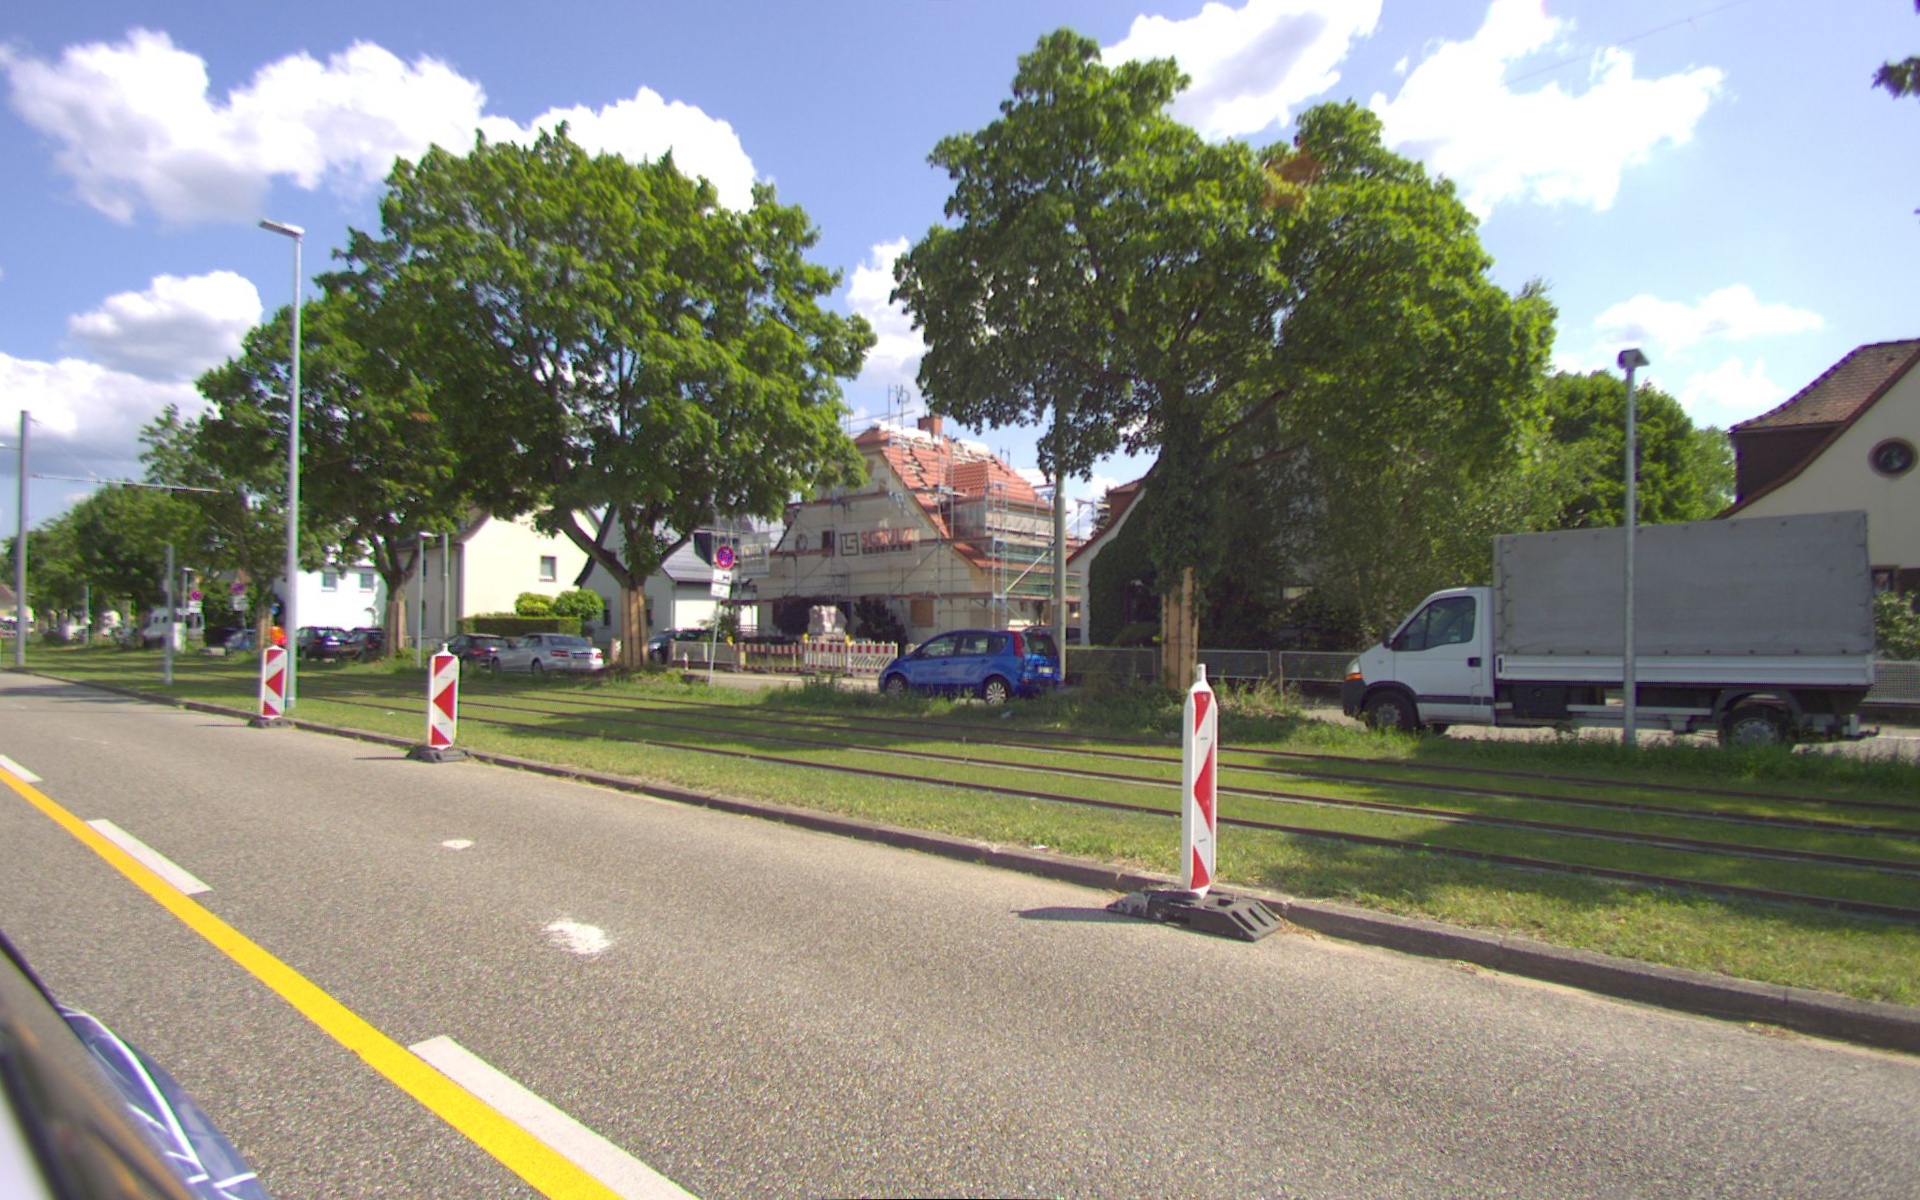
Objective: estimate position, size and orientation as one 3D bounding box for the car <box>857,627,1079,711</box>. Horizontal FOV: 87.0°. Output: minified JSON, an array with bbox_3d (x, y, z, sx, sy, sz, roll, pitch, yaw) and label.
[{"bbox_3d":[0.067,1.355,20.275,4.403,1.497,1.680,-3,-3,41],"label":"car"}]

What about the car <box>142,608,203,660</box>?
[{"bbox_3d":[-49.515,2.166,63.602,5.080,3.061,2.108,-3,-3,41],"label":"car"}]

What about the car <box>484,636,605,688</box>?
[{"bbox_3d":[-13.144,1.937,31.876,4.520,1.497,1.765,-4,-3,42],"label":"car"}]

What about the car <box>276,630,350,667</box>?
[{"bbox_3d":[-29.493,2.229,46.069,4.403,1.584,1.680,-3,-3,41],"label":"car"}]

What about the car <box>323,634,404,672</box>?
[{"bbox_3d":[-25.178,2.257,42.646,4.403,1.497,1.680,-3,-3,41],"label":"car"}]

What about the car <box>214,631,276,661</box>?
[{"bbox_3d":[-37.492,2.432,53.045,4.403,1.497,1.680,-3,-3,41],"label":"car"}]

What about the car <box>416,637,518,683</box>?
[{"bbox_3d":[-17.519,2.123,35.888,4.403,1.497,1.680,-3,-3,41],"label":"car"}]

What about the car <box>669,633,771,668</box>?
[{"bbox_3d":[-10.925,2.296,46.206,1.702,1.497,4.345,-3,-3,41],"label":"car"}]

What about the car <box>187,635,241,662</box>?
[{"bbox_3d":[-44.475,2.880,60.325,4.403,1.497,1.680,-3,-3,41],"label":"car"}]

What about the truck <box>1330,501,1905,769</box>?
[{"bbox_3d":[8.300,0.458,13.398,5.971,2.802,2.242,-2,-3,41],"label":"truck"}]
